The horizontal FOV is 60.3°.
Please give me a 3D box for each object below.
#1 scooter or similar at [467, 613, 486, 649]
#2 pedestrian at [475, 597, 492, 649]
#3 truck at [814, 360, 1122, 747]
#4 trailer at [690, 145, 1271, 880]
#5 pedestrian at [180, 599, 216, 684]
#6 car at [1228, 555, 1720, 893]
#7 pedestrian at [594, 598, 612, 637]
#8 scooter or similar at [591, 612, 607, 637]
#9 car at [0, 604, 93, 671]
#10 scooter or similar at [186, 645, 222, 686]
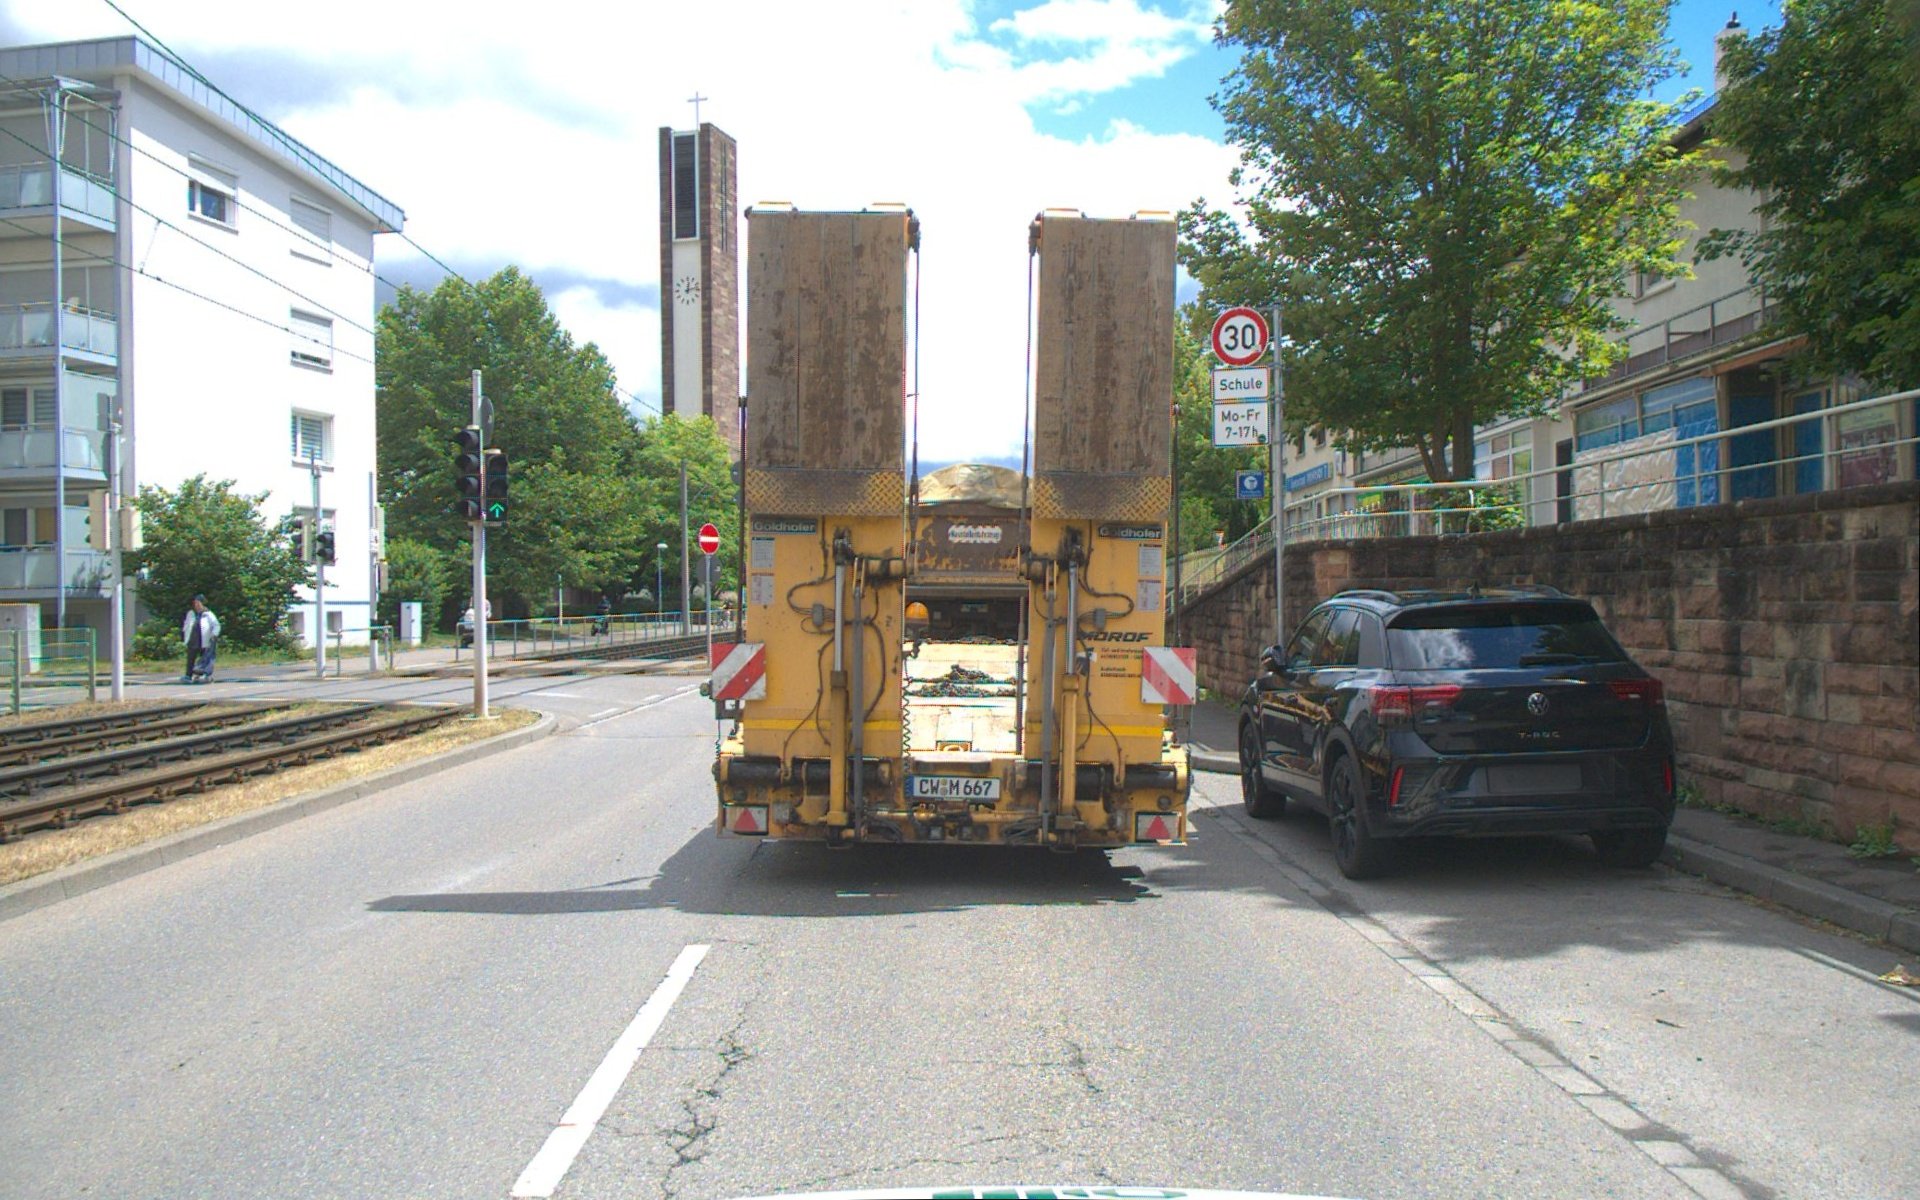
[{"bbox_3d":[-14.498,0.918,49.614,0.331,1.076,0.688,0,0,3],"label":"scooter or similar"},{"bbox_3d":[-14.469,0.696,50.242,0.341,1.564,0.557,0,0,3],"label":"pedestrian"},{"bbox_3d":[0.079,-0.453,18.092,2.882,3.635,4.876,-1,0,0],"label":"truck"},{"bbox_3d":[0.101,-0.447,12.632,2.885,3.664,8.683,0,0,0],"label":"trailer"},{"bbox_3d":[-14.472,0.784,31.416,0.428,1.608,0.475,0,0,4],"label":"pedestrian"},{"bbox_3d":[2.940,0.631,10.414,1.813,1.668,4.000,-2,0,0],"label":"car"},{"bbox_3d":[-14.466,0.700,67.023,0.552,1.540,0.645,2,0,-2],"label":"pedestrian"},{"bbox_3d":[-14.477,0.967,66.372,0.495,0.988,0.645,2,0,-2],"label":"scooter or similar"},{"bbox_3d":[-20.630,0.773,34.713,3.902,1.369,1.902,0,0,7],"label":"car"},{"bbox_3d":[-14.157,1.223,30.983,0.428,0.760,0.475,0,0,4],"label":"scooter or similar"}]
